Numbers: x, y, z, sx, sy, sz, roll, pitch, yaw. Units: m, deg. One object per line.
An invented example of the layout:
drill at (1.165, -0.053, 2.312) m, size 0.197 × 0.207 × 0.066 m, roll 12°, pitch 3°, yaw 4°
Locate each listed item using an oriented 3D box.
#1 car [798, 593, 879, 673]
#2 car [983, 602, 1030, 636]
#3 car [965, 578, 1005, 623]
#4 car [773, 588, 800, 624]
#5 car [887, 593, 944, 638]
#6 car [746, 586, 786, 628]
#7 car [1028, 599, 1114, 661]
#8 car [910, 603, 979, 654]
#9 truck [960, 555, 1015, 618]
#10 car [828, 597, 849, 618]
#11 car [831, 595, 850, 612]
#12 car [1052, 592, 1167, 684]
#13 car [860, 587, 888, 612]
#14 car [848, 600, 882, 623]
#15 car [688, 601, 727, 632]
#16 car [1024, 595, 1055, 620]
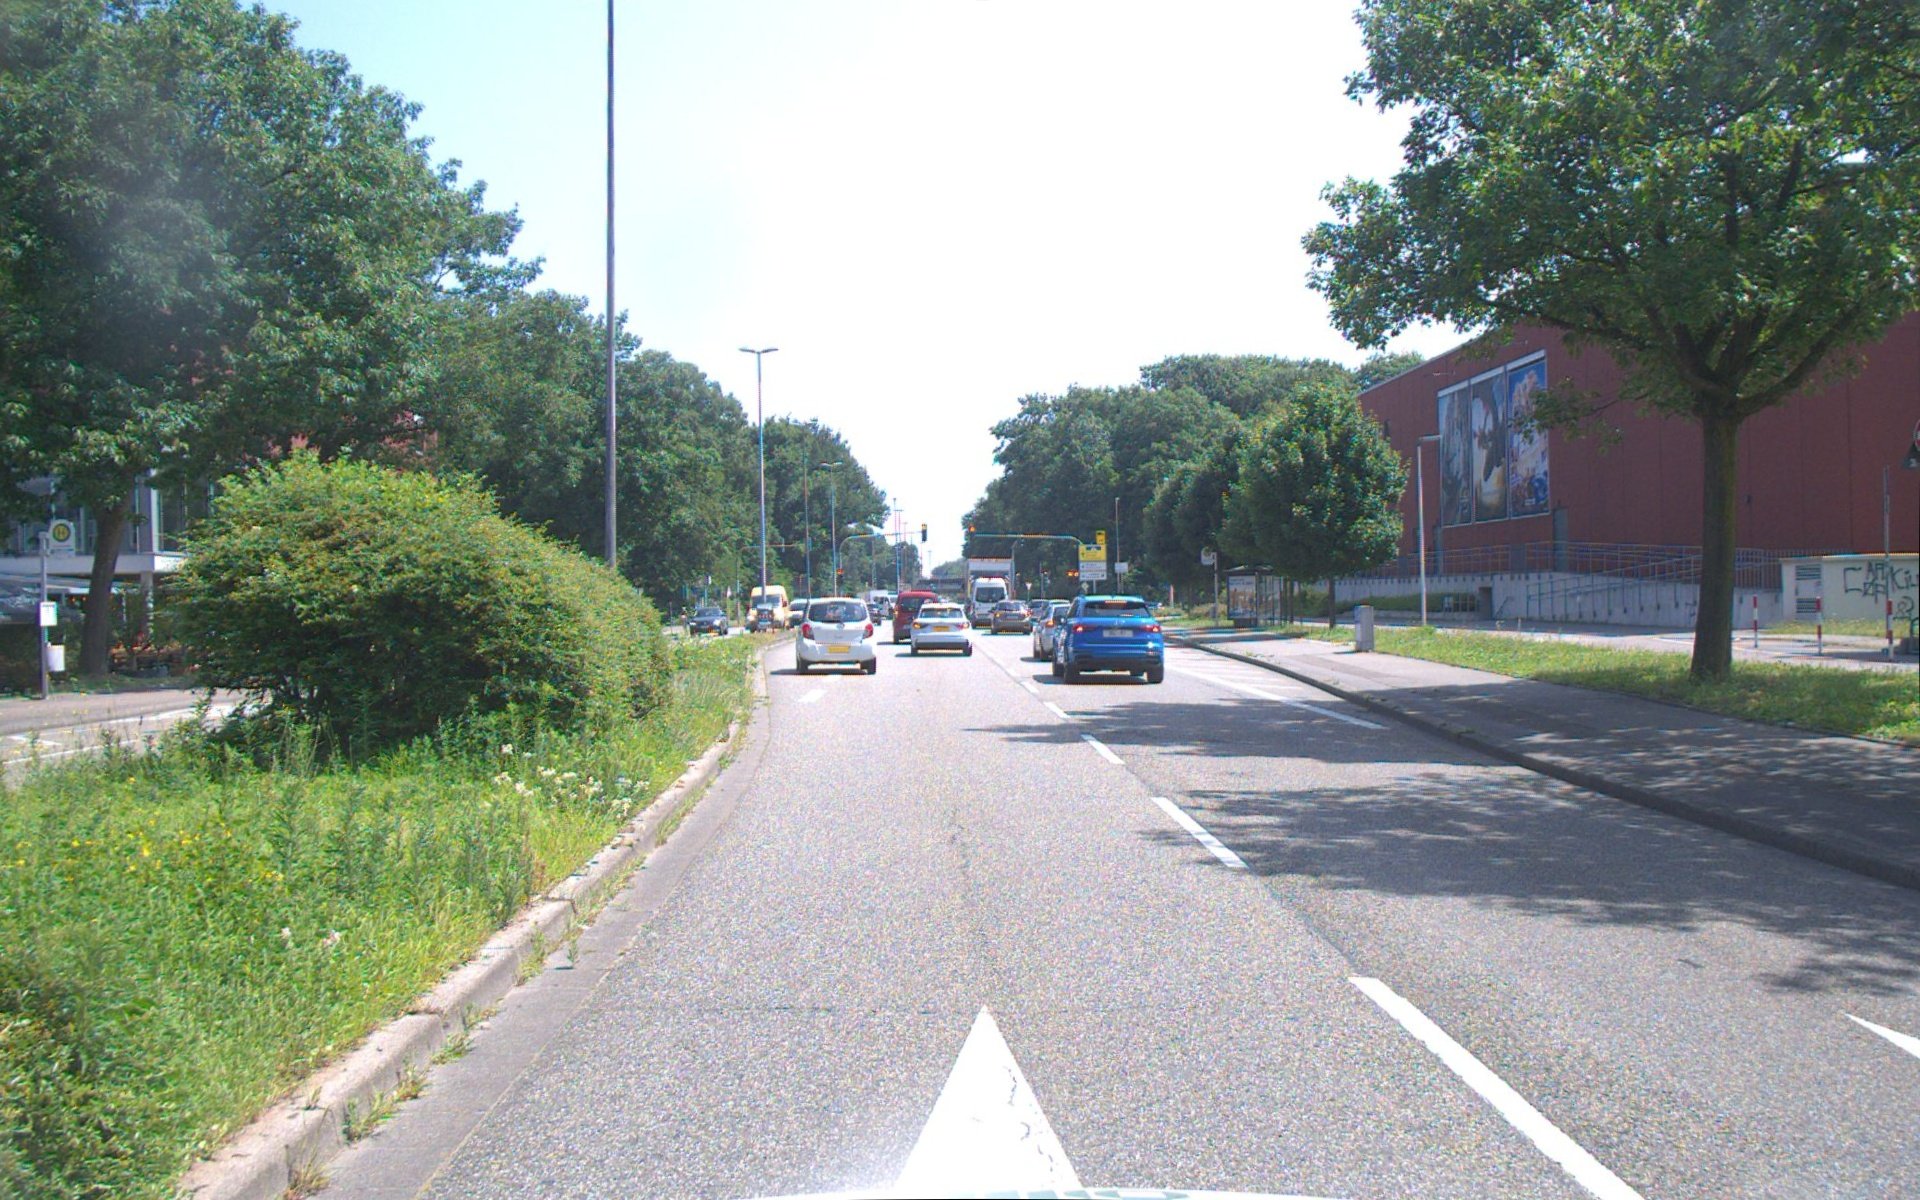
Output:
car at (-2.576, 0.669, 34.745) m, size 1.606 × 1.579 × 3.321 m, roll -1°, pitch 0°, yaw -5°
car at (2.038, 0.834, 73.918) m, size 1.828 × 1.333 × 3.999 m, roll -3°, pitch 1°, yaw -2°
car at (1.341, 0.008, 89.226) m, size 1.953 × 2.295 × 3.999 m, roll -2°, pitch 0°, yaw -1°
car at (-11.393, 0.385, 108.705) m, size 1.745 × 2.322 × 3.995 m, roll 0°, pitch -1°, yaw -6°
car at (-1.619, 0.543, 58.728) m, size 1.760 × 1.550 × 3.995 m, roll 0°, pitch 0°, yaw -5°
car at (-10.920, 0.409, 93.233) m, size 1.743 × 2.322 × 4.751 m, roll -1°, pitch -1°, yaw -1°
car at (2.816, 0.749, 42.616) m, size 1.828 × 1.499 × 3.998 m, roll -1°, pitch 0°, yaw -2°
car at (-0.456, 0.782, 46.492) m, size 1.846 × 1.378 × 3.999 m, roll -1°, pitch 0°, yaw -1°
truck at (1.574, -0.786, 99.808) m, size 2.873 × 3.563 × 9.155 m, roll -2°, pitch 0°, yaw -1°
car at (-8.115, 0.509, 110.380) m, size 1.341 × 1.331 × 2.691 m, roll -2°, pitch 0°, yaw -4°
car at (-11.595, 0.345, 160.423) m, size 1.563 × 1.610 × 3.770 m, roll -2°, pitch 0°, yaw -1°
car at (2.787, 0.694, 31.724) m, size 1.772 × 1.620 × 4.348 m, roll -1°, pitch 0°, yaw -1°
car at (-7.174, -0.046, 137.775) m, size 1.956 × 2.049 × 3.992 m, roll -2°, pitch 0°, yaw -8°
car at (-5.938, 0.721, 104.240) m, size 1.953 × 1.310 × 3.999 m, roll -2°, pitch 0°, yaw -1°
car at (-14.292, 0.925, 93.720) m, size 1.676 × 1.691 × 3.998 m, roll -1°, pitch 0°, yaw -2°
car at (4.962, 0.444, 103.372) m, size 1.600 × 1.489 × 3.999 m, roll -2°, pitch 0°, yaw -1°
